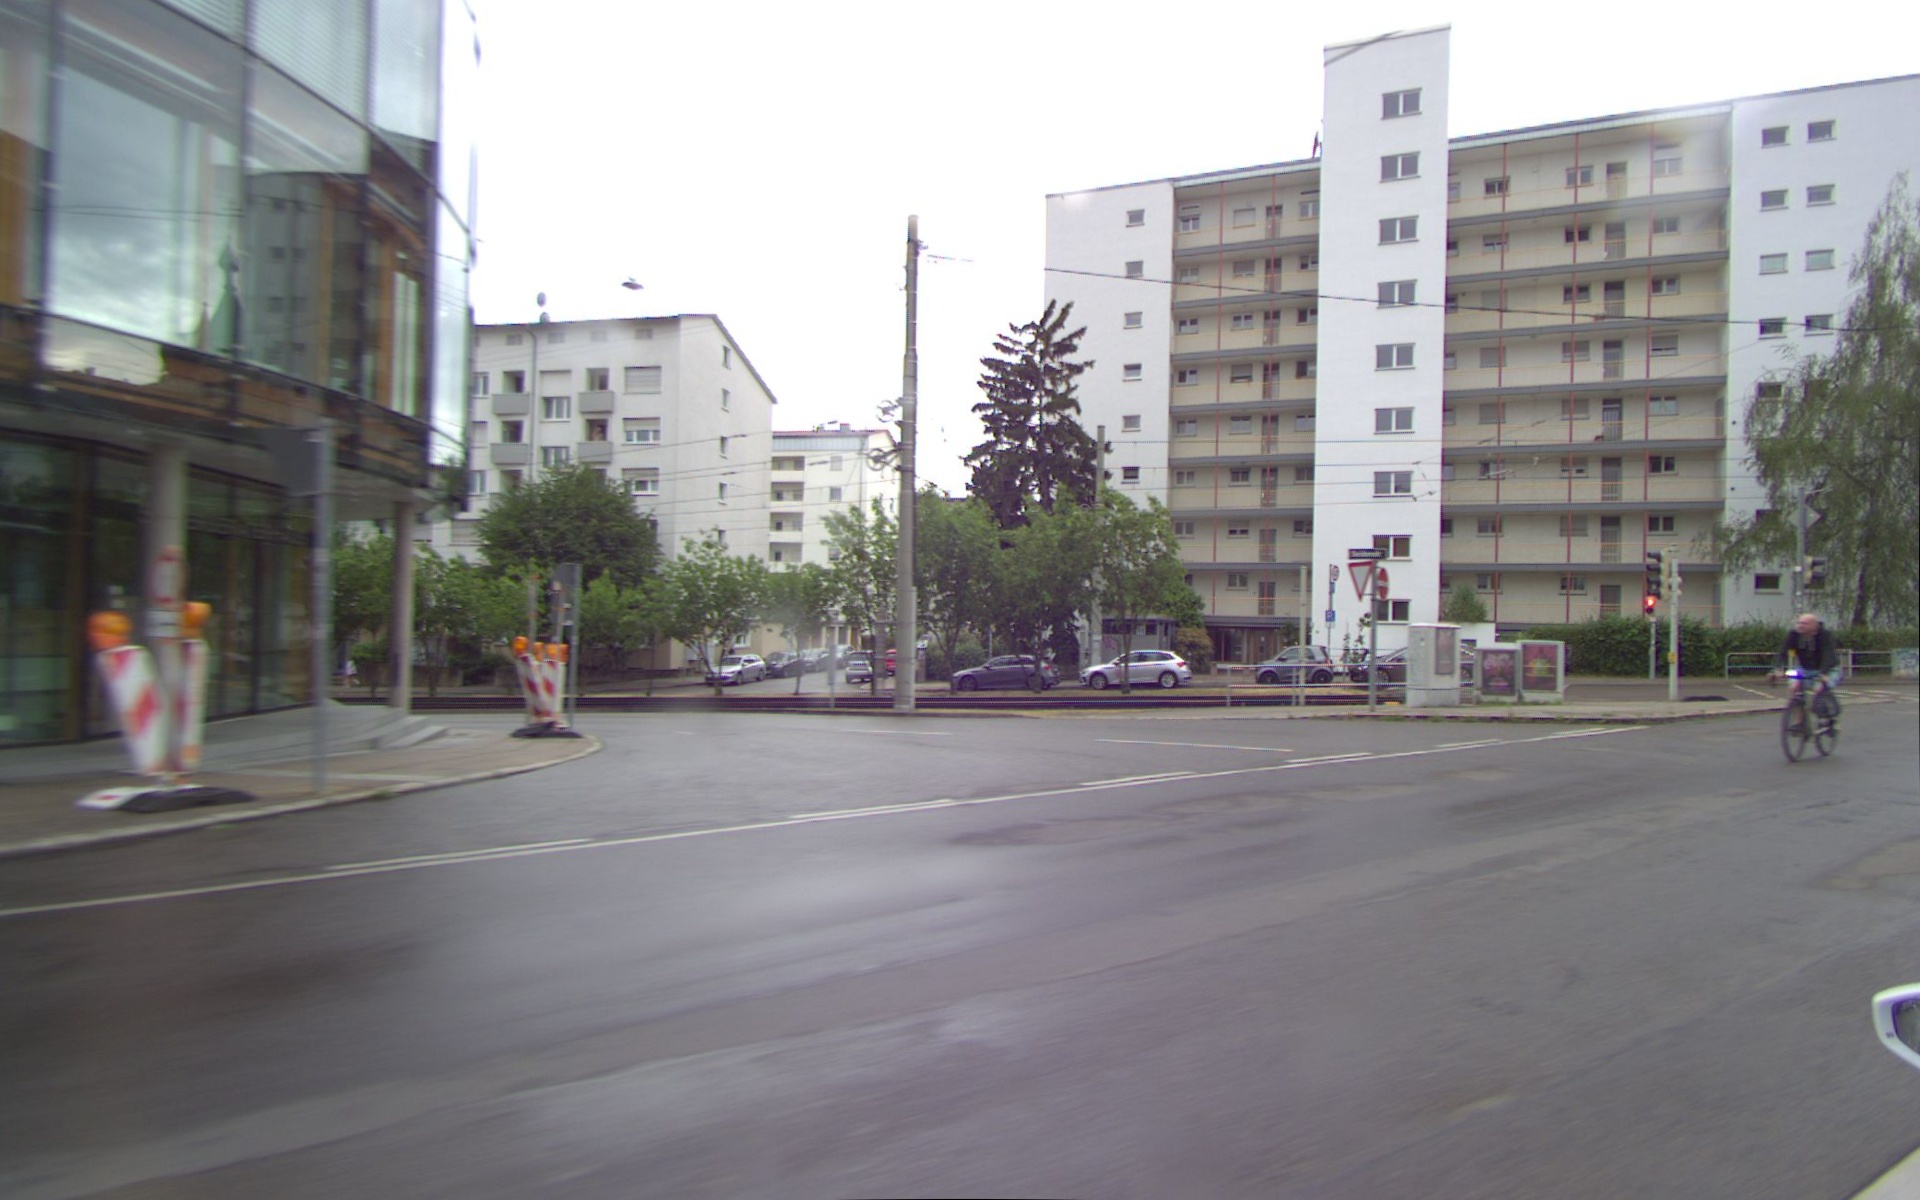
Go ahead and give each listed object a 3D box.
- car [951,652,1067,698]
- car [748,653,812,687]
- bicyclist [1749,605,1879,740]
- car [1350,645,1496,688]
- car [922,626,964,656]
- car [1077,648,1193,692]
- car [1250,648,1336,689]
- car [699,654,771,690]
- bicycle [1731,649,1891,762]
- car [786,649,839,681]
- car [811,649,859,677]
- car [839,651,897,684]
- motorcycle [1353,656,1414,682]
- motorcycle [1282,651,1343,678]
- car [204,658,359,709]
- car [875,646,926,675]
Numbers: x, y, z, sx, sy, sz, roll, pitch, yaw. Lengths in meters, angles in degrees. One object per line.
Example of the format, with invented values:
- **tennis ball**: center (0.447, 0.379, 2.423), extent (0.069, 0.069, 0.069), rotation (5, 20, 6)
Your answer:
- **car**: center (1.959, 2.950, 39.747), extent (4.226, 1.527, 2.001), rotation (-3, -2, 15)
- **car**: center (-10.336, 4.022, 58.043), extent (1.959, 1.684, 4.588), rotation (2, -1, 13)
- **bicyclist**: center (9.965, 0.823, 11.723), extent (1.127, 1.481, 0.820), rotation (3, -1, -31)
- **car**: center (16.439, 2.379, 35.896), extent (4.402, 1.480, 1.876), rotation (-1, -4, 15)
- **car**: center (-1.154, 2.850, 69.640), extent (1.959, 1.923, 4.003), rotation (2, -1, 13)
- **car**: center (6.749, 2.690, 38.640), extent (4.225, 1.528, 2.001), rotation (-2, -1, 15)
- **car**: center (12.259, 2.513, 37.133), extent (2.834, 1.411, 1.812), rotation (-2, -2, 14)
- **car**: center (-11.640, 3.717, 52.225), extent (1.959, 1.583, 4.195), rotation (2, -1, 13)
- **bicycle**: center (9.924, 1.174, 11.691), extent (2.103, 1.163, 0.820), rotation (1, -1, -32)
- **car**: center (-9.235, 4.068, 63.131), extent (1.959, 1.750, 4.003), rotation (2, -1, 13)
- **car**: center (-8.377, 4.240, 67.648), extent (1.959, 1.661, 4.003), rotation (2, -1, 13)
- **car**: center (-4.682, 3.433, 51.785), extent (1.789, 1.462, 4.003), rotation (2, -1, 13)
- **motorcycle**: center (16.938, 2.761, 40.233), extent (2.191, 0.953, 0.779), rotation (0, 0, 16)
- **motorcycle**: center (14.352, 2.631, 40.951), extent (2.190, 0.952, 0.900), rotation (2, -1, 12)
- **car**: center (-22.680, 2.780, 33.638), extent (4.225, 1.528, 2.001), rotation (-2, -1, 15)
- **car**: center (-3.358, 3.455, 57.719), extent (1.838, 1.461, 4.003), rotation (2, -1, 13)
